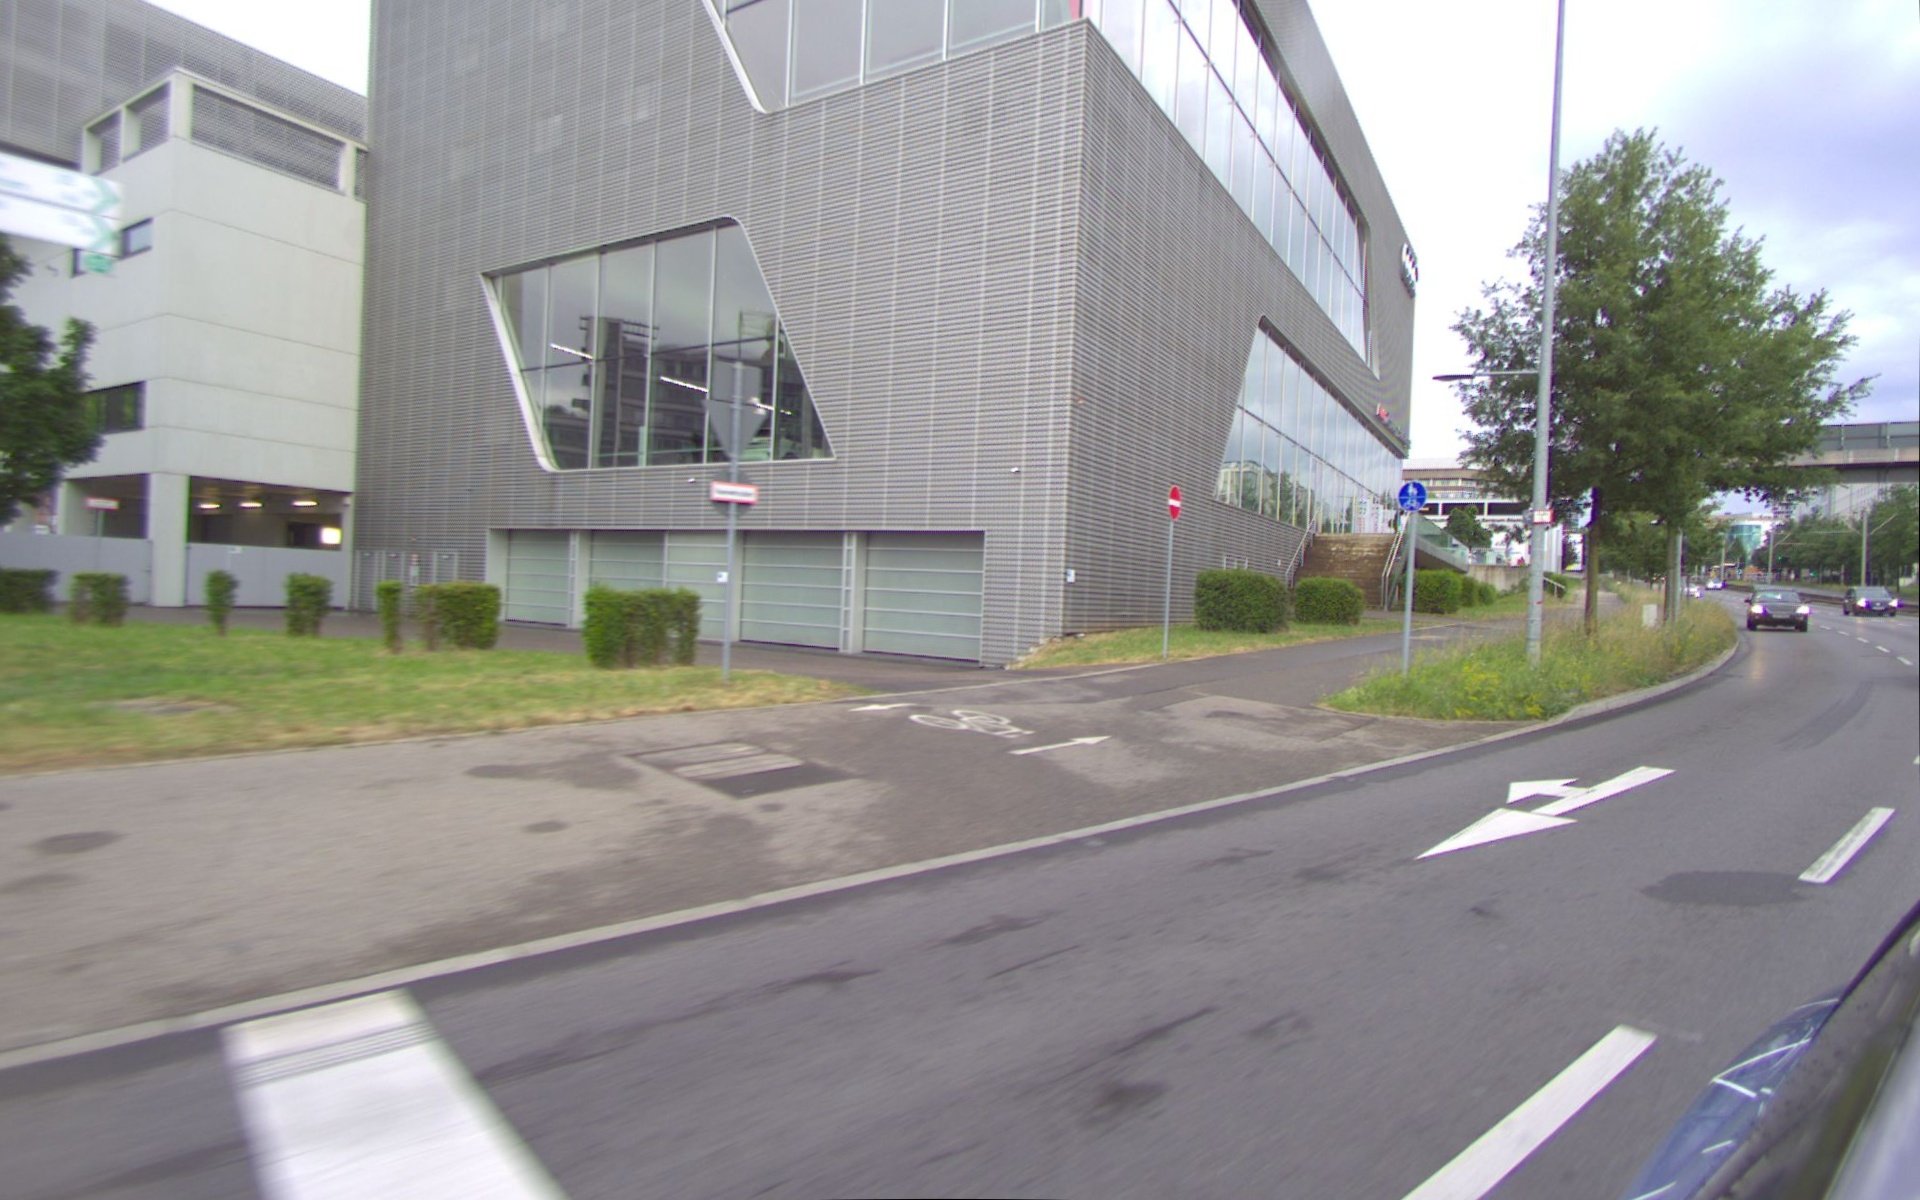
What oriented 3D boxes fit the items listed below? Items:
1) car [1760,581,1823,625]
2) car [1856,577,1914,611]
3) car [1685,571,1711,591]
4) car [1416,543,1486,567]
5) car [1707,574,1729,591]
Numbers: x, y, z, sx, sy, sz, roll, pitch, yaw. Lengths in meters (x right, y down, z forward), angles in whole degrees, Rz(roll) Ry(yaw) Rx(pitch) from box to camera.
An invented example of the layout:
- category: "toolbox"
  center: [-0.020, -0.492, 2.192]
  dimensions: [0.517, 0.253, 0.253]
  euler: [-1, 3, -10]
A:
- category: "car"
  center: [32.447, 0.090, 39.500]
  dimensions: [1.821, 1.629, 4.054]
  euler: [1, 0, 40]
- category: "car"
  center: [51.645, -0.330, 56.555]
  dimensions: [1.850, 1.833, 4.062]
  euler: [1, 0, 35]
- category: "car"
  center: [68.747, -1.745, 94.311]
  dimensions: [1.850, 1.833, 4.062]
  euler: [1, 0, 35]
- category: "car"
  center: [34.037, -3.103, 70.130]
  dimensions: [4.240, 1.594, 1.673]
  euler: [1, 1, 32]
- category: "car"
  center: [98.529, -2.280, 131.583]
  dimensions: [1.986, 2.038, 3.954]
  euler: [0, 2, 33]
